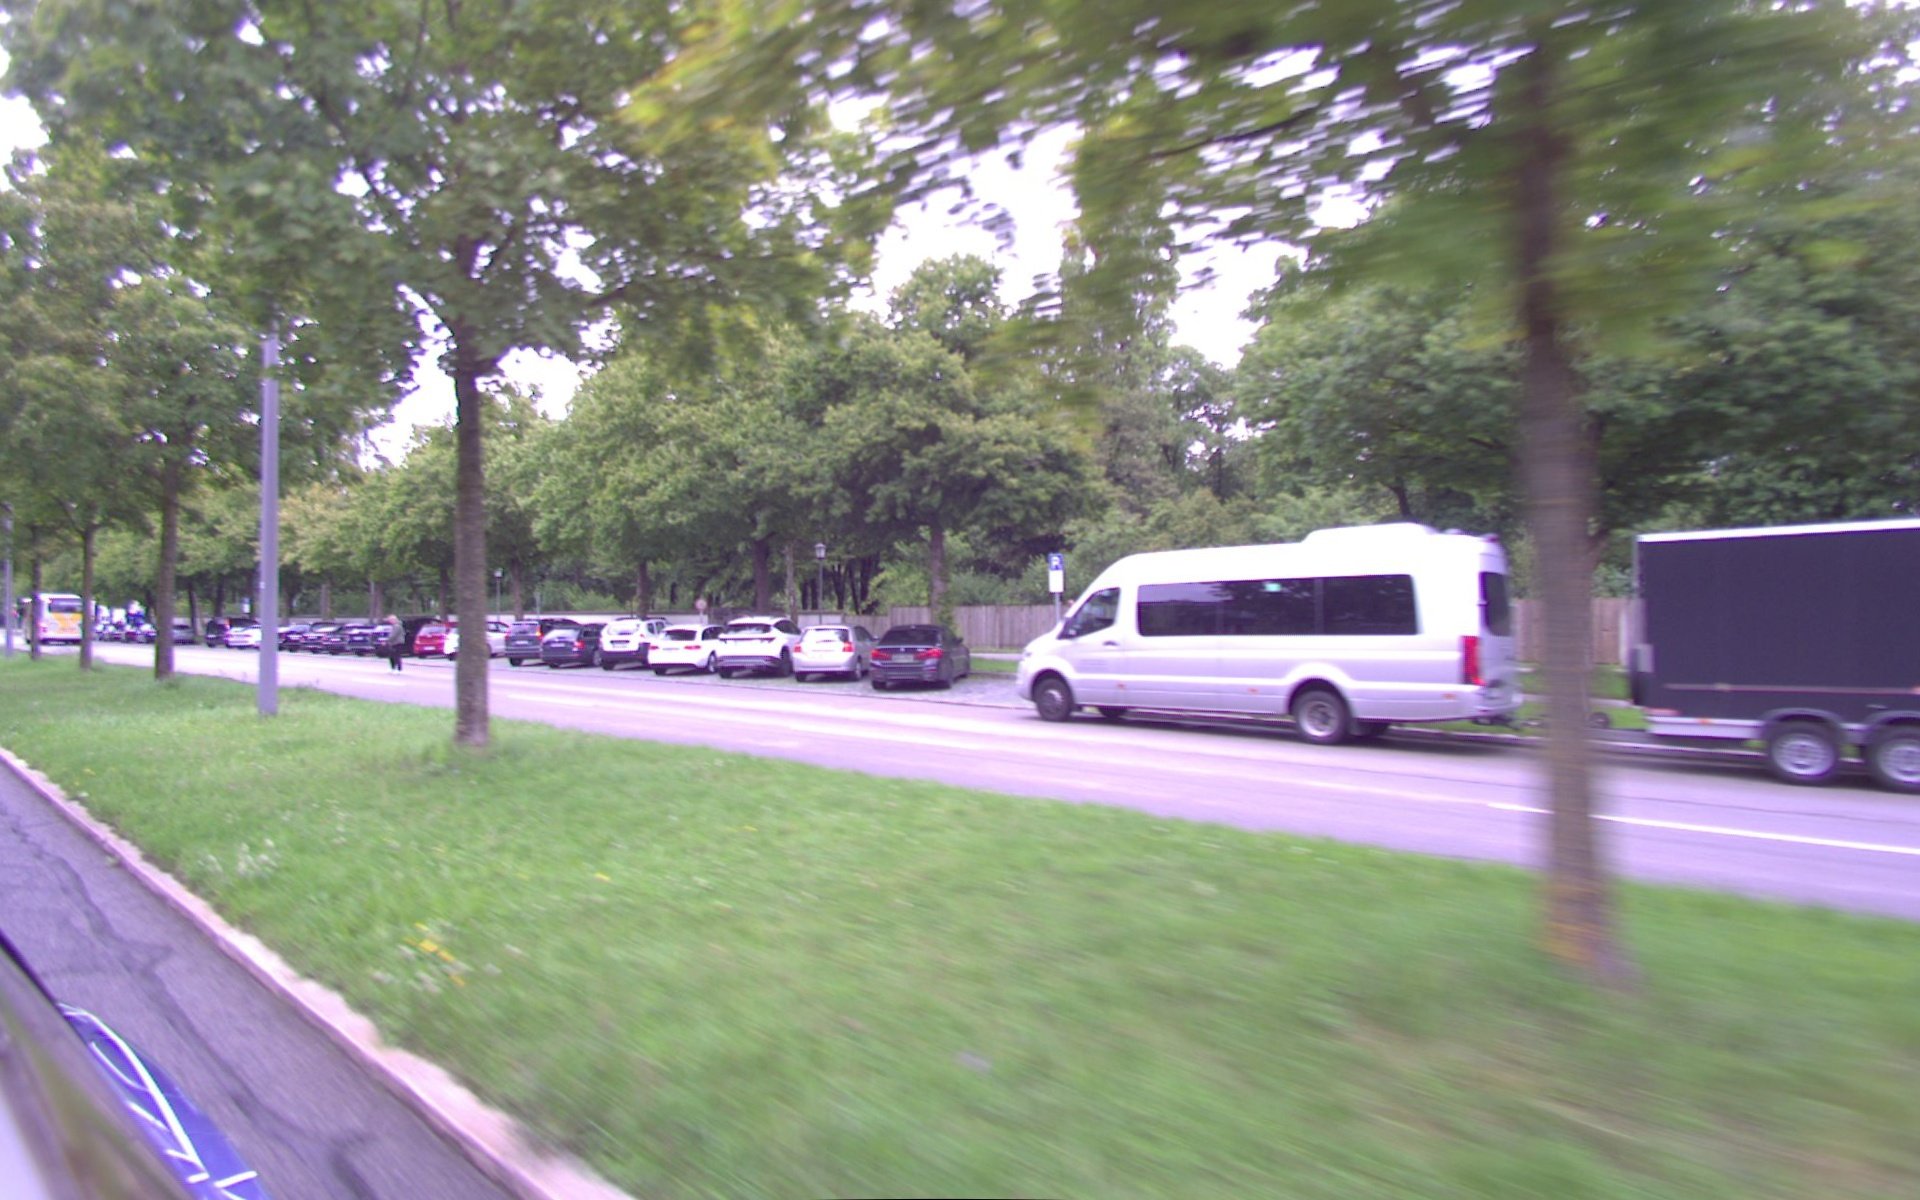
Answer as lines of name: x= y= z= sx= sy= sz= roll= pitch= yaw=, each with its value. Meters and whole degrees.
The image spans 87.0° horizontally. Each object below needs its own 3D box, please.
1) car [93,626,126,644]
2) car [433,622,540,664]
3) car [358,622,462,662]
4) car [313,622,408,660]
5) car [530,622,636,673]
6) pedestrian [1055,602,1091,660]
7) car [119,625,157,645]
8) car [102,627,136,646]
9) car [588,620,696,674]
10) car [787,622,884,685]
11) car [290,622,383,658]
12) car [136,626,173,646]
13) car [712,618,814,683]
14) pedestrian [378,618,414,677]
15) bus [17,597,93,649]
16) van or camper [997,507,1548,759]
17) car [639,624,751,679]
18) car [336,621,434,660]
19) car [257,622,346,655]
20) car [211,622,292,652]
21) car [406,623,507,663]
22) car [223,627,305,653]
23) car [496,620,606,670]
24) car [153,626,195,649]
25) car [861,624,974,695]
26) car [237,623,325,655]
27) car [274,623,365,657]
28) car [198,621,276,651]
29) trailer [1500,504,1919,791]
car: x=-73.709 y=3.034 z=87.680 sx=1.863 sy=1.454 sz=4.172 roll=-1 pitch=0 yaw=-44
car: x=-19.412 y=1.743 z=41.681 sx=1.873 sy=1.474 sz=3.982 roll=-2 pitch=0 yaw=14
car: x=-24.439 y=1.843 z=45.158 sx=1.873 sy=1.569 sz=3.982 roll=-2 pitch=0 yaw=14
car: x=-29.105 y=1.963 z=49.270 sx=1.870 sy=1.569 sz=3.989 roll=-2 pitch=0 yaw=9
car: x=-12.949 y=1.610 z=35.021 sx=1.780 sy=1.497 sz=3.992 roll=-2 pitch=0 yaw=7
pedestrian: x=3.551 y=0.978 z=31.917 sx=0.873 sy=1.781 sz=0.761 roll=-1 pitch=-2 yaw=38
car: x=-63.465 y=2.694 z=78.115 sx=1.863 sy=1.454 sz=4.172 roll=-1 pitch=0 yaw=-44
car: x=-69.613 y=2.975 z=83.728 sx=1.863 sy=1.454 sz=4.172 roll=-1 pitch=0 yaw=-44
car: x=-10.393 y=1.487 z=33.418 sx=1.780 sy=1.585 sz=4.315 roll=-1 pitch=0 yaw=7
car: x=-3.219 y=1.370 z=26.988 sx=1.779 sy=1.477 sz=3.994 roll=-1 pitch=0 yaw=5
car: x=-31.398 y=1.969 z=51.096 sx=1.870 sy=1.569 sz=3.989 roll=-2 pitch=0 yaw=9
car: x=-59.071 y=2.621 z=74.227 sx=1.717 sy=1.381 sz=4.172 roll=-1 pitch=0 yaw=-44
car: x=-5.483 y=1.361 z=28.658 sx=1.779 sy=1.635 sz=3.993 roll=-1 pitch=0 yaw=6
pedestrian: x=-16.544 y=1.387 z=29.688 sx=0.859 sy=1.711 sz=0.773 roll=2 pitch=-1 yaw=-28
bus: x=-62.319 y=1.603 z=69.584 sx=11.925 sy=3.323 sz=2.640 roll=-1 pitch=-3 yaw=43
van or camper: x=4.071 y=0.475 z=14.783 sx=7.544 sy=2.859 sz=2.013 roll=-1 pitch=-3 yaw=42
car: x=-7.903 y=1.498 z=30.601 sx=1.780 sy=1.449 sz=4.315 roll=-1 pitch=0 yaw=7
car: x=-26.658 y=1.869 z=47.082 sx=1.870 sy=1.569 sz=3.989 roll=-2 pitch=0 yaw=9
car: x=-36.115 y=2.096 z=55.639 sx=1.870 sy=1.569 sz=3.989 roll=-2 pitch=0 yaw=9
car: x=-43.113 y=2.249 z=61.715 sx=1.869 sy=1.654 sz=3.991 roll=-1 pitch=0 yaw=7
car: x=-21.687 y=1.824 z=43.765 sx=1.723 sy=1.466 sz=3.982 roll=-2 pitch=0 yaw=14
car: x=-40.618 y=2.316 z=59.181 sx=1.575 sy=1.376 sz=3.986 roll=-1 pitch=0 yaw=11
car: x=-14.970 y=1.613 z=37.254 sx=1.783 sy=1.599 sz=3.984 roll=-2 pitch=0 yaw=13
car: x=-54.557 y=2.582 z=70.203 sx=1.863 sy=1.454 sz=4.172 roll=-1 pitch=0 yaw=-44
car: x=-0.907 y=1.353 z=24.054 sx=1.783 sy=1.445 sz=3.985 roll=-1 pitch=0 yaw=12
car: x=-38.176 y=2.185 z=57.028 sx=1.870 sy=1.569 sz=3.989 roll=-2 pitch=0 yaw=9
car: x=-33.831 y=2.069 z=53.587 sx=1.870 sy=1.569 sz=3.989 roll=-2 pitch=0 yaw=9
car: x=-45.457 y=2.239 z=63.705 sx=1.761 sy=1.741 sz=3.991 roll=-1 pitch=0 yaw=7
trailer: x=8.560 y=0.485 z=10.719 sx=4.657 sy=2.610 sz=1.995 roll=-1 pitch=-3 yaw=42
